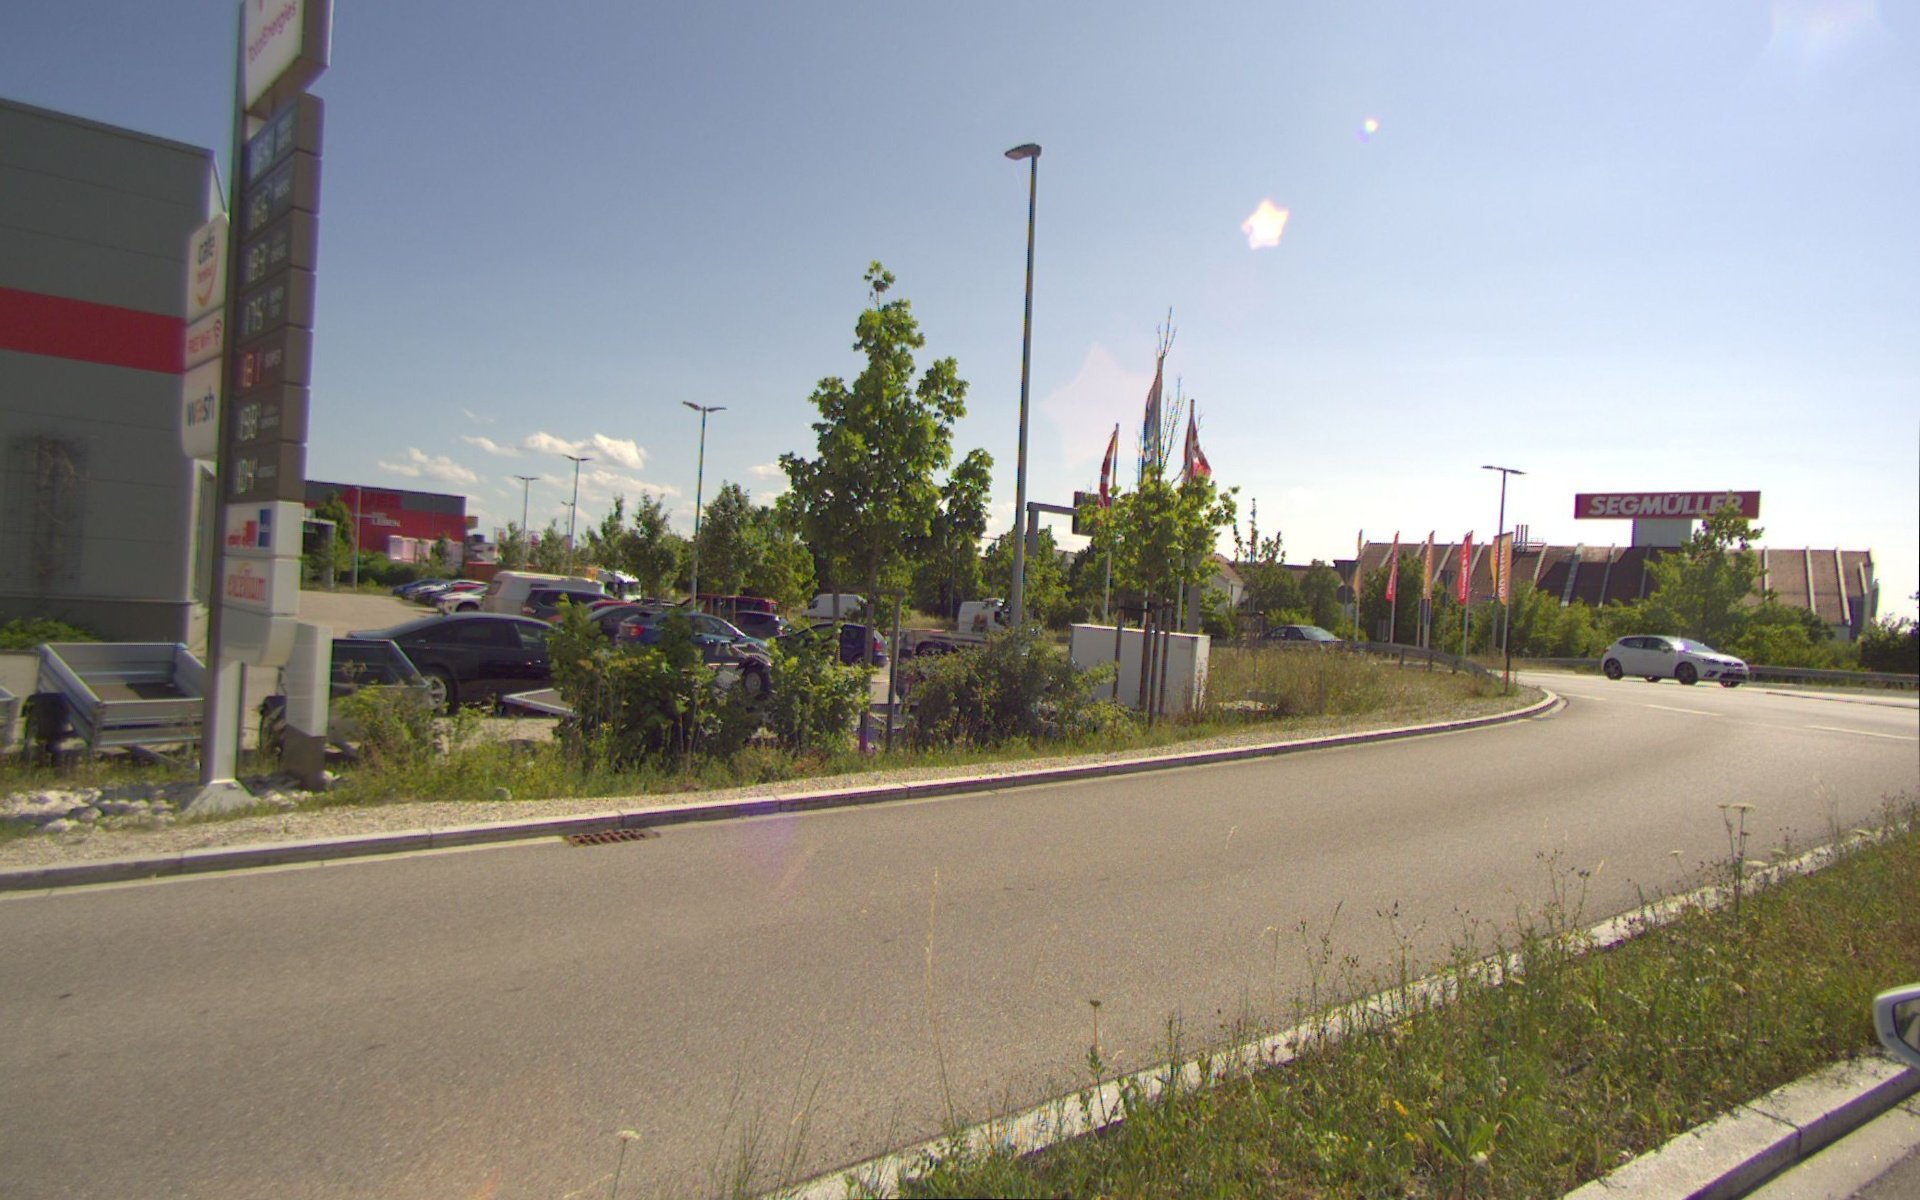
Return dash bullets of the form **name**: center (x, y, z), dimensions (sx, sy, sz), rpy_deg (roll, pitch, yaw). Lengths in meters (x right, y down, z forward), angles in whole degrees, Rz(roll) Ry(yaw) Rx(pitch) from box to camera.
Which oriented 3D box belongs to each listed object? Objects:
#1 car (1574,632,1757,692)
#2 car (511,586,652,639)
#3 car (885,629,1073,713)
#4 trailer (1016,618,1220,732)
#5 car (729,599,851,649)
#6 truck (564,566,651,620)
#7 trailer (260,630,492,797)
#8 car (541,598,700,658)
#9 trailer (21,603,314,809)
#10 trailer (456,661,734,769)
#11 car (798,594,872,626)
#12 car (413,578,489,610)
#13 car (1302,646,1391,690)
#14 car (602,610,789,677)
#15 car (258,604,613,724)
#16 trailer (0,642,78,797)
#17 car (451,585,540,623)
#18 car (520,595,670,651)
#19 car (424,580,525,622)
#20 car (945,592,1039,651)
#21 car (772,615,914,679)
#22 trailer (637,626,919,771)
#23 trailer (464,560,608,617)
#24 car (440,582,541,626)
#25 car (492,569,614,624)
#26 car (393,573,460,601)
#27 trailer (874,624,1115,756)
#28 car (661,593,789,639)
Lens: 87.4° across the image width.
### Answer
- **car**: center (21.403, 1.843, 30.715), dimensions (1.762, 1.424, 4.402), rpy_deg (3, 1, -15)
- **car**: center (-12.107, 0.403, 32.147), dimensions (3.954, 1.483, 1.810), rpy_deg (3, 1, -31)
- **car**: center (0.436, 1.500, 21.774), dimensions (3.704, 1.573, 1.728), rpy_deg (2, 1, -33)
- **trailer**: center (3.208, 1.439, 20.400), dimensions (3.627, 1.795, 1.806), rpy_deg (5, 2, 25)
- **car**: center (-5.939, 0.822, 35.416), dimensions (3.921, 1.483, 1.825), rpy_deg (3, 1, 0)
- **truck**: center (-29.059, -0.599, 82.878), dimensions (6.307, 4.161, 2.663), rpy_deg (3, 1, 19)
- **trailer**: center (-6.279, 1.093, 10.699), dimensions (2.872, 1.340, 1.381), rpy_deg (4, 1, 44)
- **car**: center (-9.591, 0.791, 28.402), dimensions (3.954, 1.483, 1.810), rpy_deg (3, 1, -31)
- **trailer**: center (-7.709, 0.879, 9.698), dimensions (3.141, 1.503, 1.542), rpy_deg (4, 1, 39)
- **trailer**: center (-4.548, 1.363, 12.579), dimensions (2.785, 0.893, 1.864), rpy_deg (3, 1, 27)
- **car**: center (-10.583, 0.817, 84.671), dimensions (6.164, 2.264, 2.035), rpy_deg (3, 1, 31)
- **car**: center (-29.887, -0.337, 58.955), dimensions (3.709, 1.672, 1.726), rpy_deg (2, 1, -37)
- **car**: center (14.114, 2.458, 36.889), dimensions (1.644, 1.198, 3.864), rpy_deg (3, 1, -2)
- **car**: center (-6.344, 1.045, 24.251), dimensions (3.961, 1.483, 1.807), rpy_deg (2, -1, -36)
- **car**: center (-7.706, 0.907, 15.066), dimensions (4.445, 1.503, 1.789), rpy_deg (2, 1, -31)
- **trailer**: center (-8.864, 0.938, 8.459), dimensions (2.725, 1.100, 1.318), rpy_deg (3, 1, 29)
- **car**: center (-22.933, 0.209, 49.613), dimensions (3.709, 1.672, 1.726), rpy_deg (2, 1, -37)
- **car**: center (-10.939, 0.697, 30.174), dimensions (3.954, 1.483, 1.810), rpy_deg (3, 1, -31)
- **car**: center (-21.359, 0.045, 44.201), dimensions (3.709, 1.672, 1.726), rpy_deg (2, 1, -37)
- **car**: center (1.744, 1.185, 57.920), dimensions (2.064, 2.960, 6.076), rpy_deg (2, 1, -35)
- **car**: center (-3.457, 1.386, 30.245), dimensions (3.922, 1.483, 1.825), rpy_deg (5, 1, 0)
- **trailer**: center (-2.646, 1.318, 14.592), dimensions (3.628, 1.471, 1.706), rpy_deg (6, 2, 25)
- **trailer**: center (-35.915, -0.979, 85.013), dimensions (12.112, 4.209, 2.562), rpy_deg (3, 0, 15)
- **car**: center (-19.858, 0.182, 42.487), dimensions (3.653, 1.672, 1.729), rpy_deg (3, 1, -32)
- **car**: center (-16.713, -0.127, 41.315), dimensions (4.305, 2.040, 1.885), rpy_deg (2, 1, -35)
- **car**: center (-35.888, -0.881, 67.582), dimensions (3.709, 1.672, 1.726), rpy_deg (2, 1, -37)
- **trailer**: center (0.592, 1.435, 17.134), dimensions (3.627, 1.795, 1.806), rpy_deg (3, 1, 25)
- **car**: center (-8.859, 0.586, 38.093), dimensions (4.367, 1.483, 1.825), rpy_deg (3, 1, 0)
